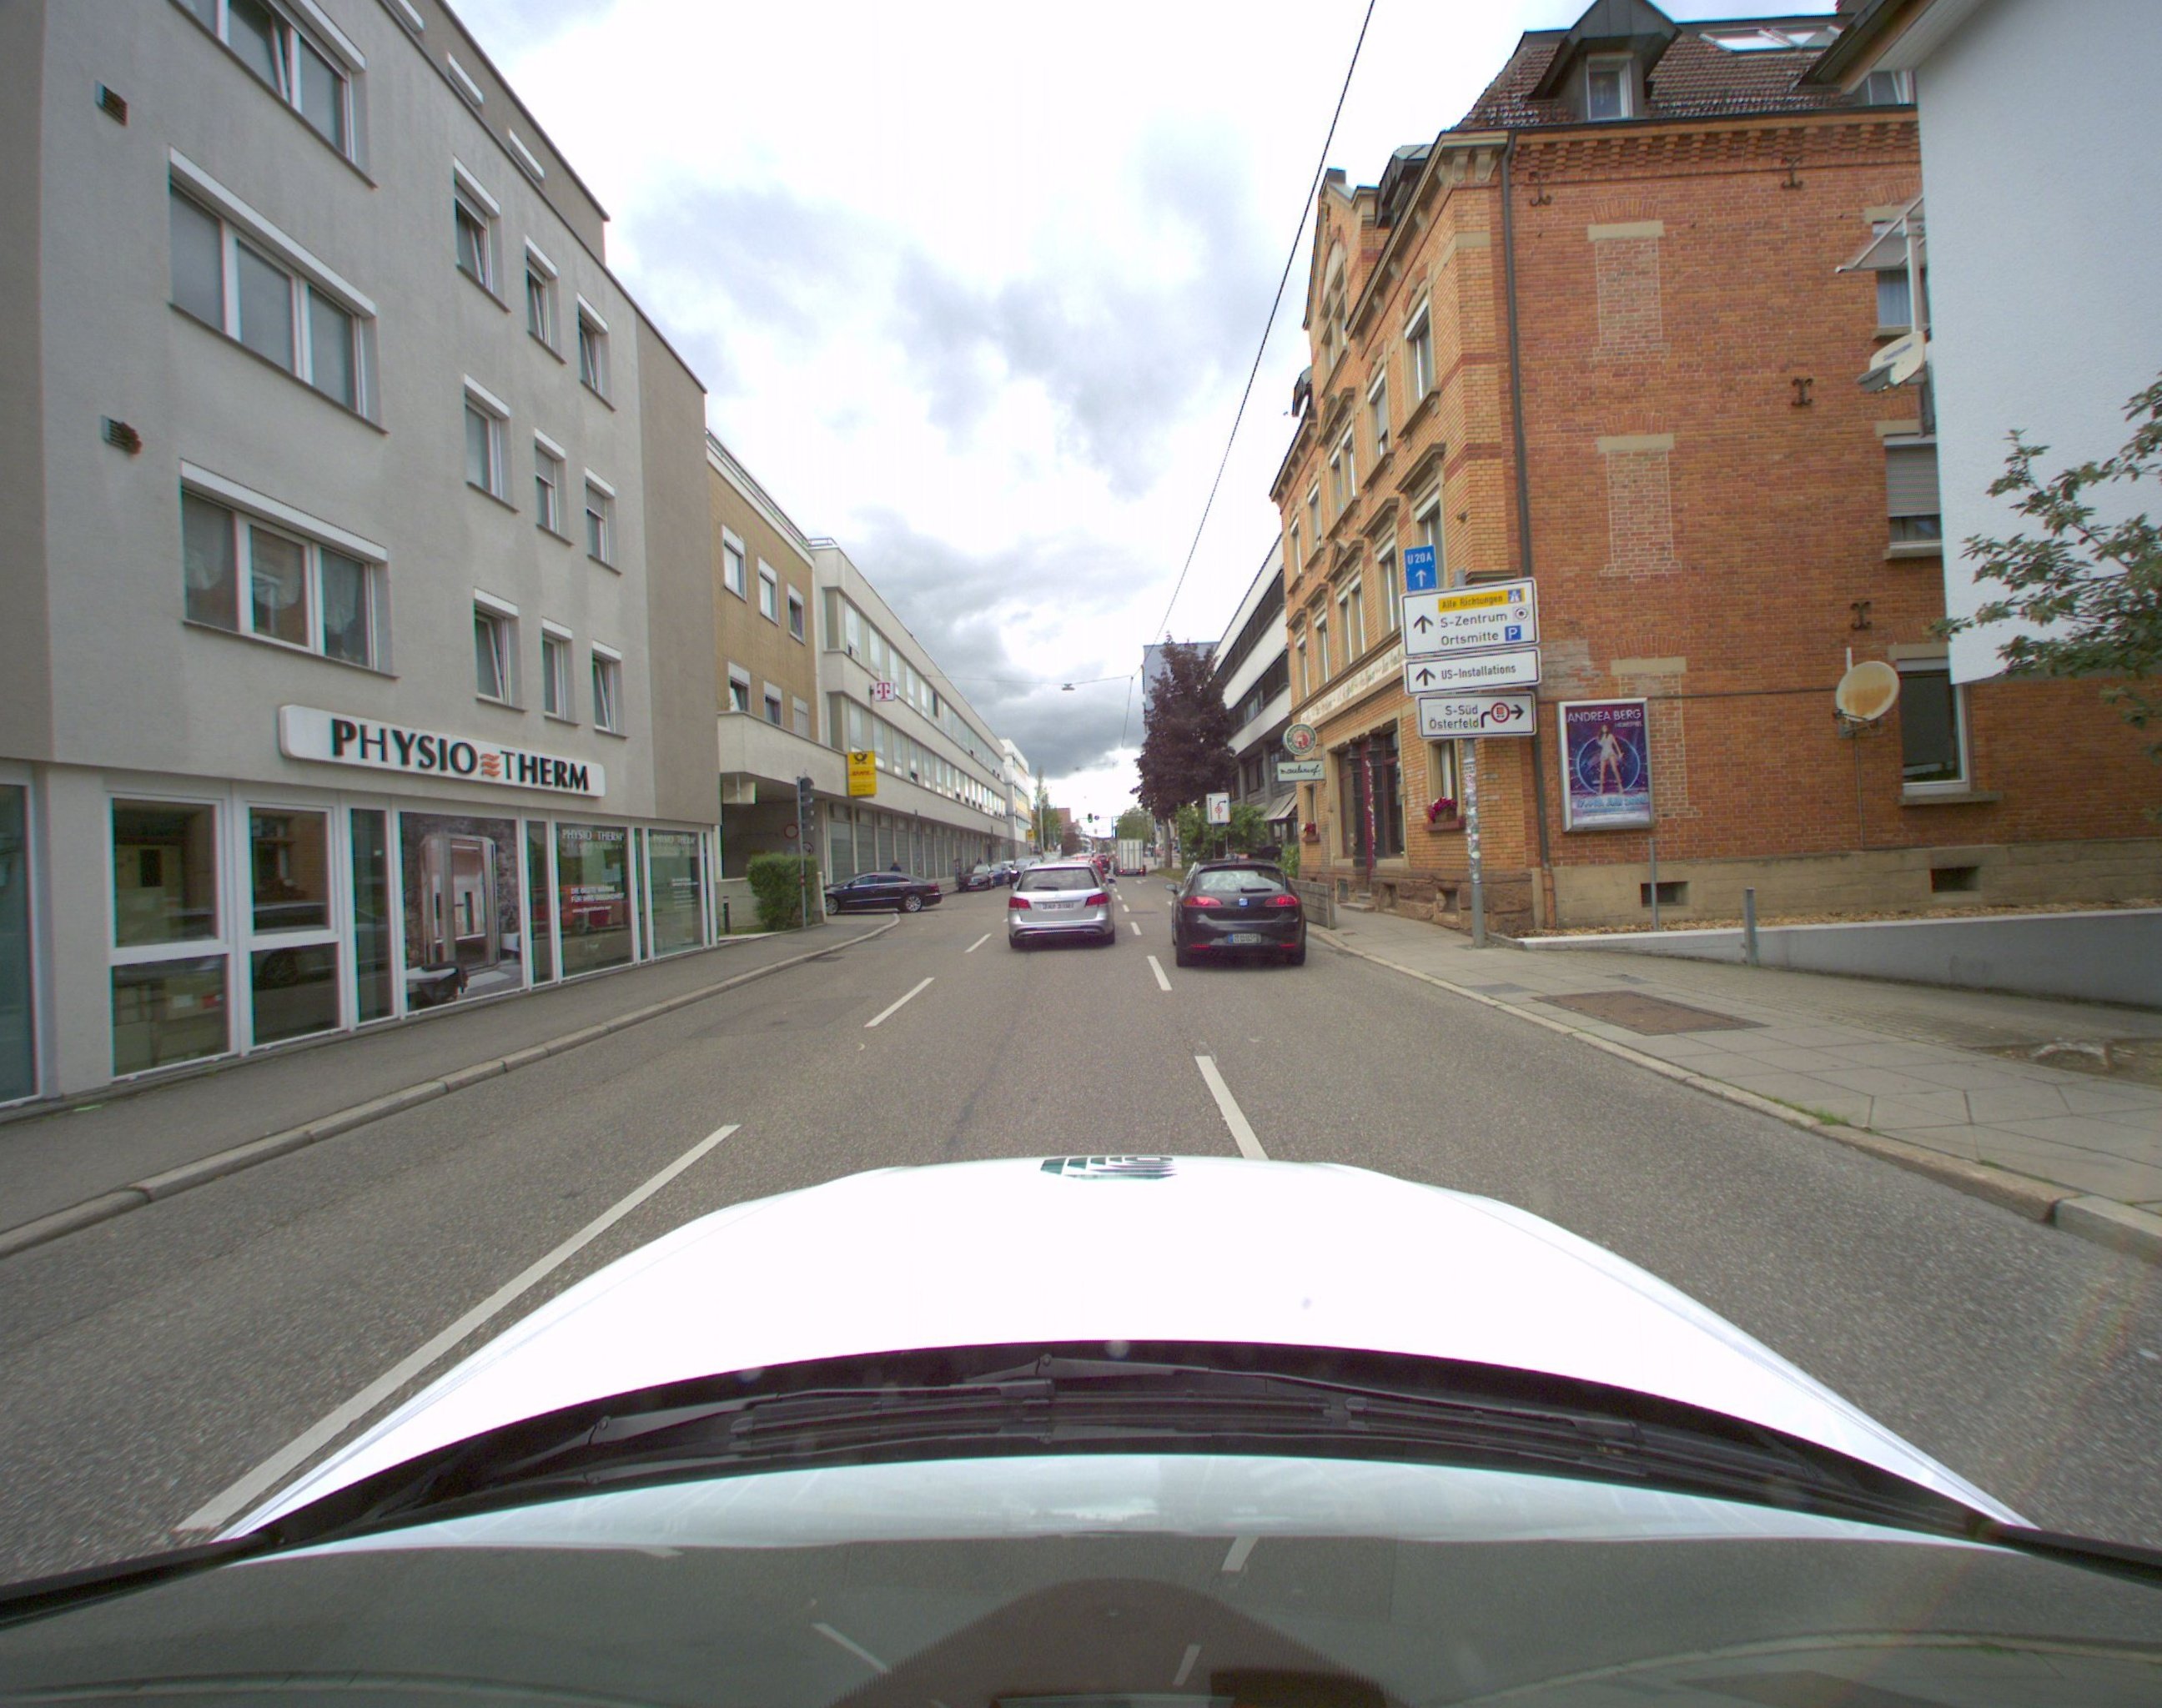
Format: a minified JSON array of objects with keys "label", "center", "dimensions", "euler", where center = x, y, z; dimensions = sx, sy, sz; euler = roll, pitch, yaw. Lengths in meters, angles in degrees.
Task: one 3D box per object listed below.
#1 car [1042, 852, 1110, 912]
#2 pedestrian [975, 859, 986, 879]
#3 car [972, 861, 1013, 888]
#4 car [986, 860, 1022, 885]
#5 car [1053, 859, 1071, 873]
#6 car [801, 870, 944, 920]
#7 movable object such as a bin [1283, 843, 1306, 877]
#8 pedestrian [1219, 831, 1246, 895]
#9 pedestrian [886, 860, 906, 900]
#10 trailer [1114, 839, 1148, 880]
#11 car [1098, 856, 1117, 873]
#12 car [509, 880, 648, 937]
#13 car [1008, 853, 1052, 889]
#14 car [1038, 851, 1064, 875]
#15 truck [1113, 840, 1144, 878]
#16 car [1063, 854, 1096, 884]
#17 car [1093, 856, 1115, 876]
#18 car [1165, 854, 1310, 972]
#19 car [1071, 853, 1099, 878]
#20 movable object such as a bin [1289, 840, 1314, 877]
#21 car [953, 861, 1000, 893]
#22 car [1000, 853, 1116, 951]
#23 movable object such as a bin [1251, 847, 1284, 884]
[{"label":"car","center":[-0.105,0.780,24.168],"dimensions":[1.797,1.553,3.738],"euler":[-3,0,0]},{"label":"pedestrian","center":[-8.136,1.192,65.857],"dimensions":[0.653,1.623,0.681],"euler":[-2,0,2]},{"label":"car","center":[-5.437,1.251,50.593],"dimensions":[1.987,1.517,4.175],"euler":[-3,0,0]},{"label":"car","center":[-5.279,1.250,56.299],"dimensions":[1.987,1.517,4.175],"euler":[-3,0,0]},{"label":"car","center":[-2.115,1.276,91.254],"dimensions":[1.763,1.413,4.175],"euler":[-4,0,1]},{"label":"car","center":[-6.986,1.316,27.317],"dimensions":[4.417,1.365,1.772],"euler":[-2,0,-22]},{"label":"movable object such as a bin","center":[10.094,0.290,38.521],"dimensions":[0.818,1.504,0.732],"euler":[-5,-2,2]},{"label":"pedestrian","center":[4.938,0.293,26.587],"dimensions":[0.691,2.013,0.676],"euler":[-2,0,0]},{"label":"pedestrian","center":[-8.393,1.173,36.981],"dimensions":[0.640,1.769,0.810],"euler":[-3,0,0]},{"label":"trailer","center":[3.397,0.360,56.471],"dimensions":[1.987,2.607,5.349],"euler":[-3,0,1]},{"label":"car","center":[2.645,1.035,81.445],"dimensions":[1.797,1.601,3.738],"euler":[-1,0,0]},{"label":"car","center":[-14.813,1.547,24.245],"dimensions":[1.747,1.457,3.692],"euler":[-1,-1,2]},{"label":"car","center":[-2.752,0.892,45.056],"dimensions":[1.987,1.738,4.553],"euler":[-4,0,1]},{"label":"car","center":[-2.642,0.780,73.369],"dimensions":[1.987,2.013,4.902],"euler":[-4,0,1]},{"label":"truck","center":[3.441,0.359,59.257],"dimensions":[1.987,2.607,3.260],"euler":[-3,0,0]},{"label":"car","center":[-0.037,0.838,47.220],"dimensions":[1.797,1.601,3.738],"euler":[-1,0,0]},{"label":"car","center":[1.913,0.987,68.443],"dimensions":[1.797,1.601,3.738],"euler":[-1,0,0]},{"label":"car","center":[2.204,0.753,12.243],"dimensions":[1.756,1.433,3.835],"euler":[-2,0,6]},{"label":"car","center":[0.257,0.760,54.986],"dimensions":[1.797,1.601,3.738],"euler":[-1,0,0]},{"label":"movable object such as a bin","center":[10.018,0.205,37.010],"dimensions":[0.818,1.589,0.732],"euler":[-5,-2,2]},{"label":"car","center":[-5.695,1.228,44.748],"dimensions":[1.906,1.516,4.175],"euler":[-4,0,1]},{"label":"car","center":[-0.346,0.776,14.968],"dimensions":[1.797,1.492,3.738],"euler":[-3,0,0]},{"label":"movable object such as a bin","center":[7.869,0.494,34.401],"dimensions":[0.940,1.470,1.445],"euler":[-4,-1,-1]}]
